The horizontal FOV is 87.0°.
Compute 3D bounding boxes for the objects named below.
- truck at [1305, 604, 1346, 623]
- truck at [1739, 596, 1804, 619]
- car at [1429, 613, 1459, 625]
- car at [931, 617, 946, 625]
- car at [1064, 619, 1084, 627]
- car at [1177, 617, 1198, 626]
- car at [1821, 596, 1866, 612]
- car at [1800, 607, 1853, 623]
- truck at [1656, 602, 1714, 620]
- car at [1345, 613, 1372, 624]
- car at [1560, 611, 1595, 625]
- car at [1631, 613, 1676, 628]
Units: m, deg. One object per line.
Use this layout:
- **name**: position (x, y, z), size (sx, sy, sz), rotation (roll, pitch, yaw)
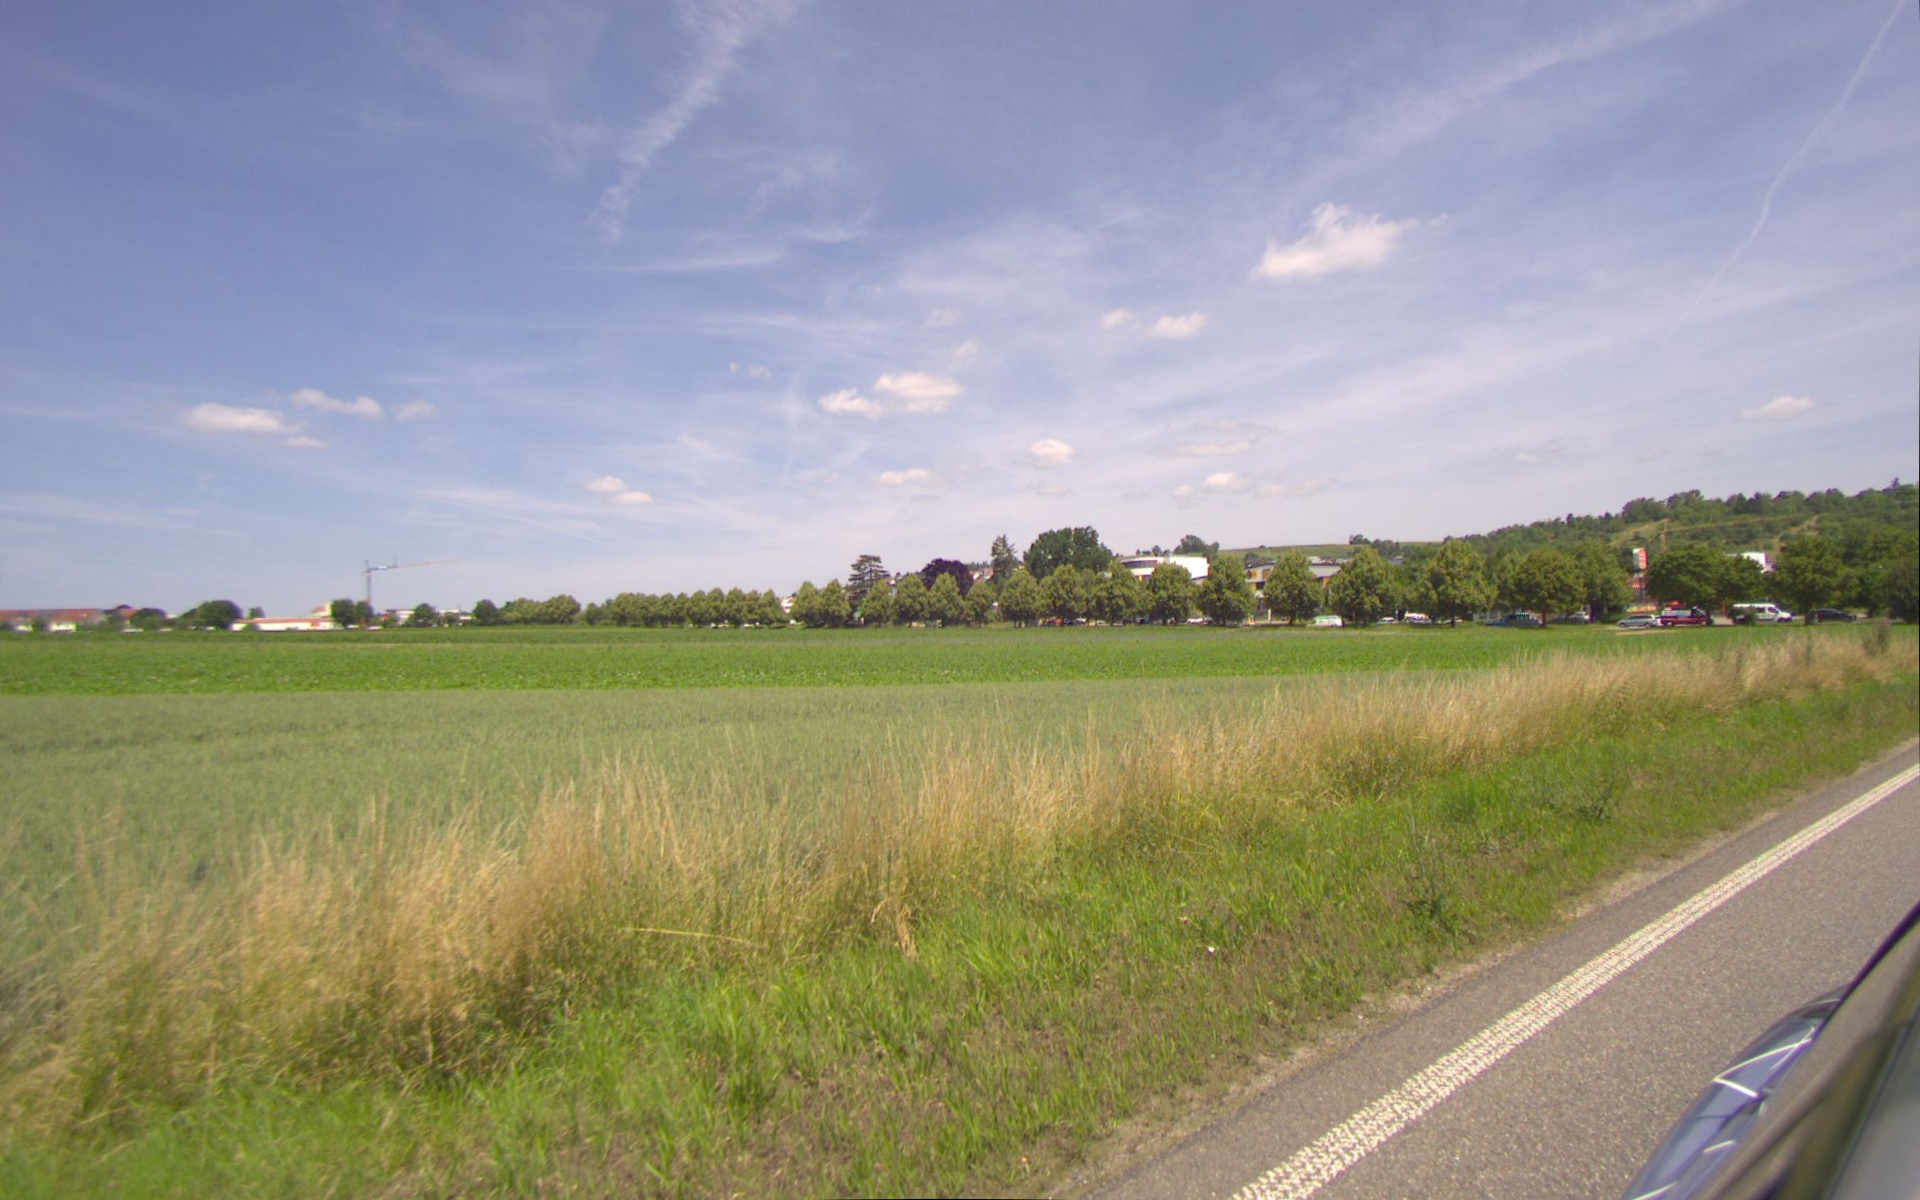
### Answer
- **truck**: position (59.486, 2.162, 164.678), size (2.037, 2.771, 5.936), rotation (-5, 1, -38)
- **truck**: position (94.842, 0.931, 118.340), size (5.618, 2.396, 2.021), rotation (-4, -1, 44)
- **car**: position (79.662, 3.158, 166.490), size (1.790, 1.848, 3.995), rotation (-2, -1, -38)
- **car**: position (-5.297, 5.201, 247.753), size (1.840, 1.823, 4.001), rotation (-2, -1, -31)
- **car**: position (26.529, 5.297, 235.254), size (1.838, 1.611, 4.807), rotation (-2, -1, -38)
- **car**: position (46.759, 4.369, 208.349), size (1.712, 1.650, 3.995), rotation (-2, -1, -38)
- **car**: position (109.519, 0.499, 125.445), size (3.976, 1.848, 1.799), rotation (-4, -1, 37)
- **car**: position (102.394, 1.808, 119.596), size (1.835, 1.713, 4.516), rotation (-2, -1, -42)
- **truck**: position (88.835, 1.355, 124.083), size (1.772, 2.001, 5.457), rotation (-2, -2, -45)
- **car**: position (70.775, 3.336, 179.757), size (1.703, 1.848, 3.995), rotation (-2, -1, -38)
- **car**: position (91.987, 2.714, 150.671), size (1.790, 1.848, 3.995), rotation (-2, -1, -38)
- **car**: position (89.633, 2.630, 130.887), size (4.509, 1.713, 1.838), rotation (-3, -1, 44)
